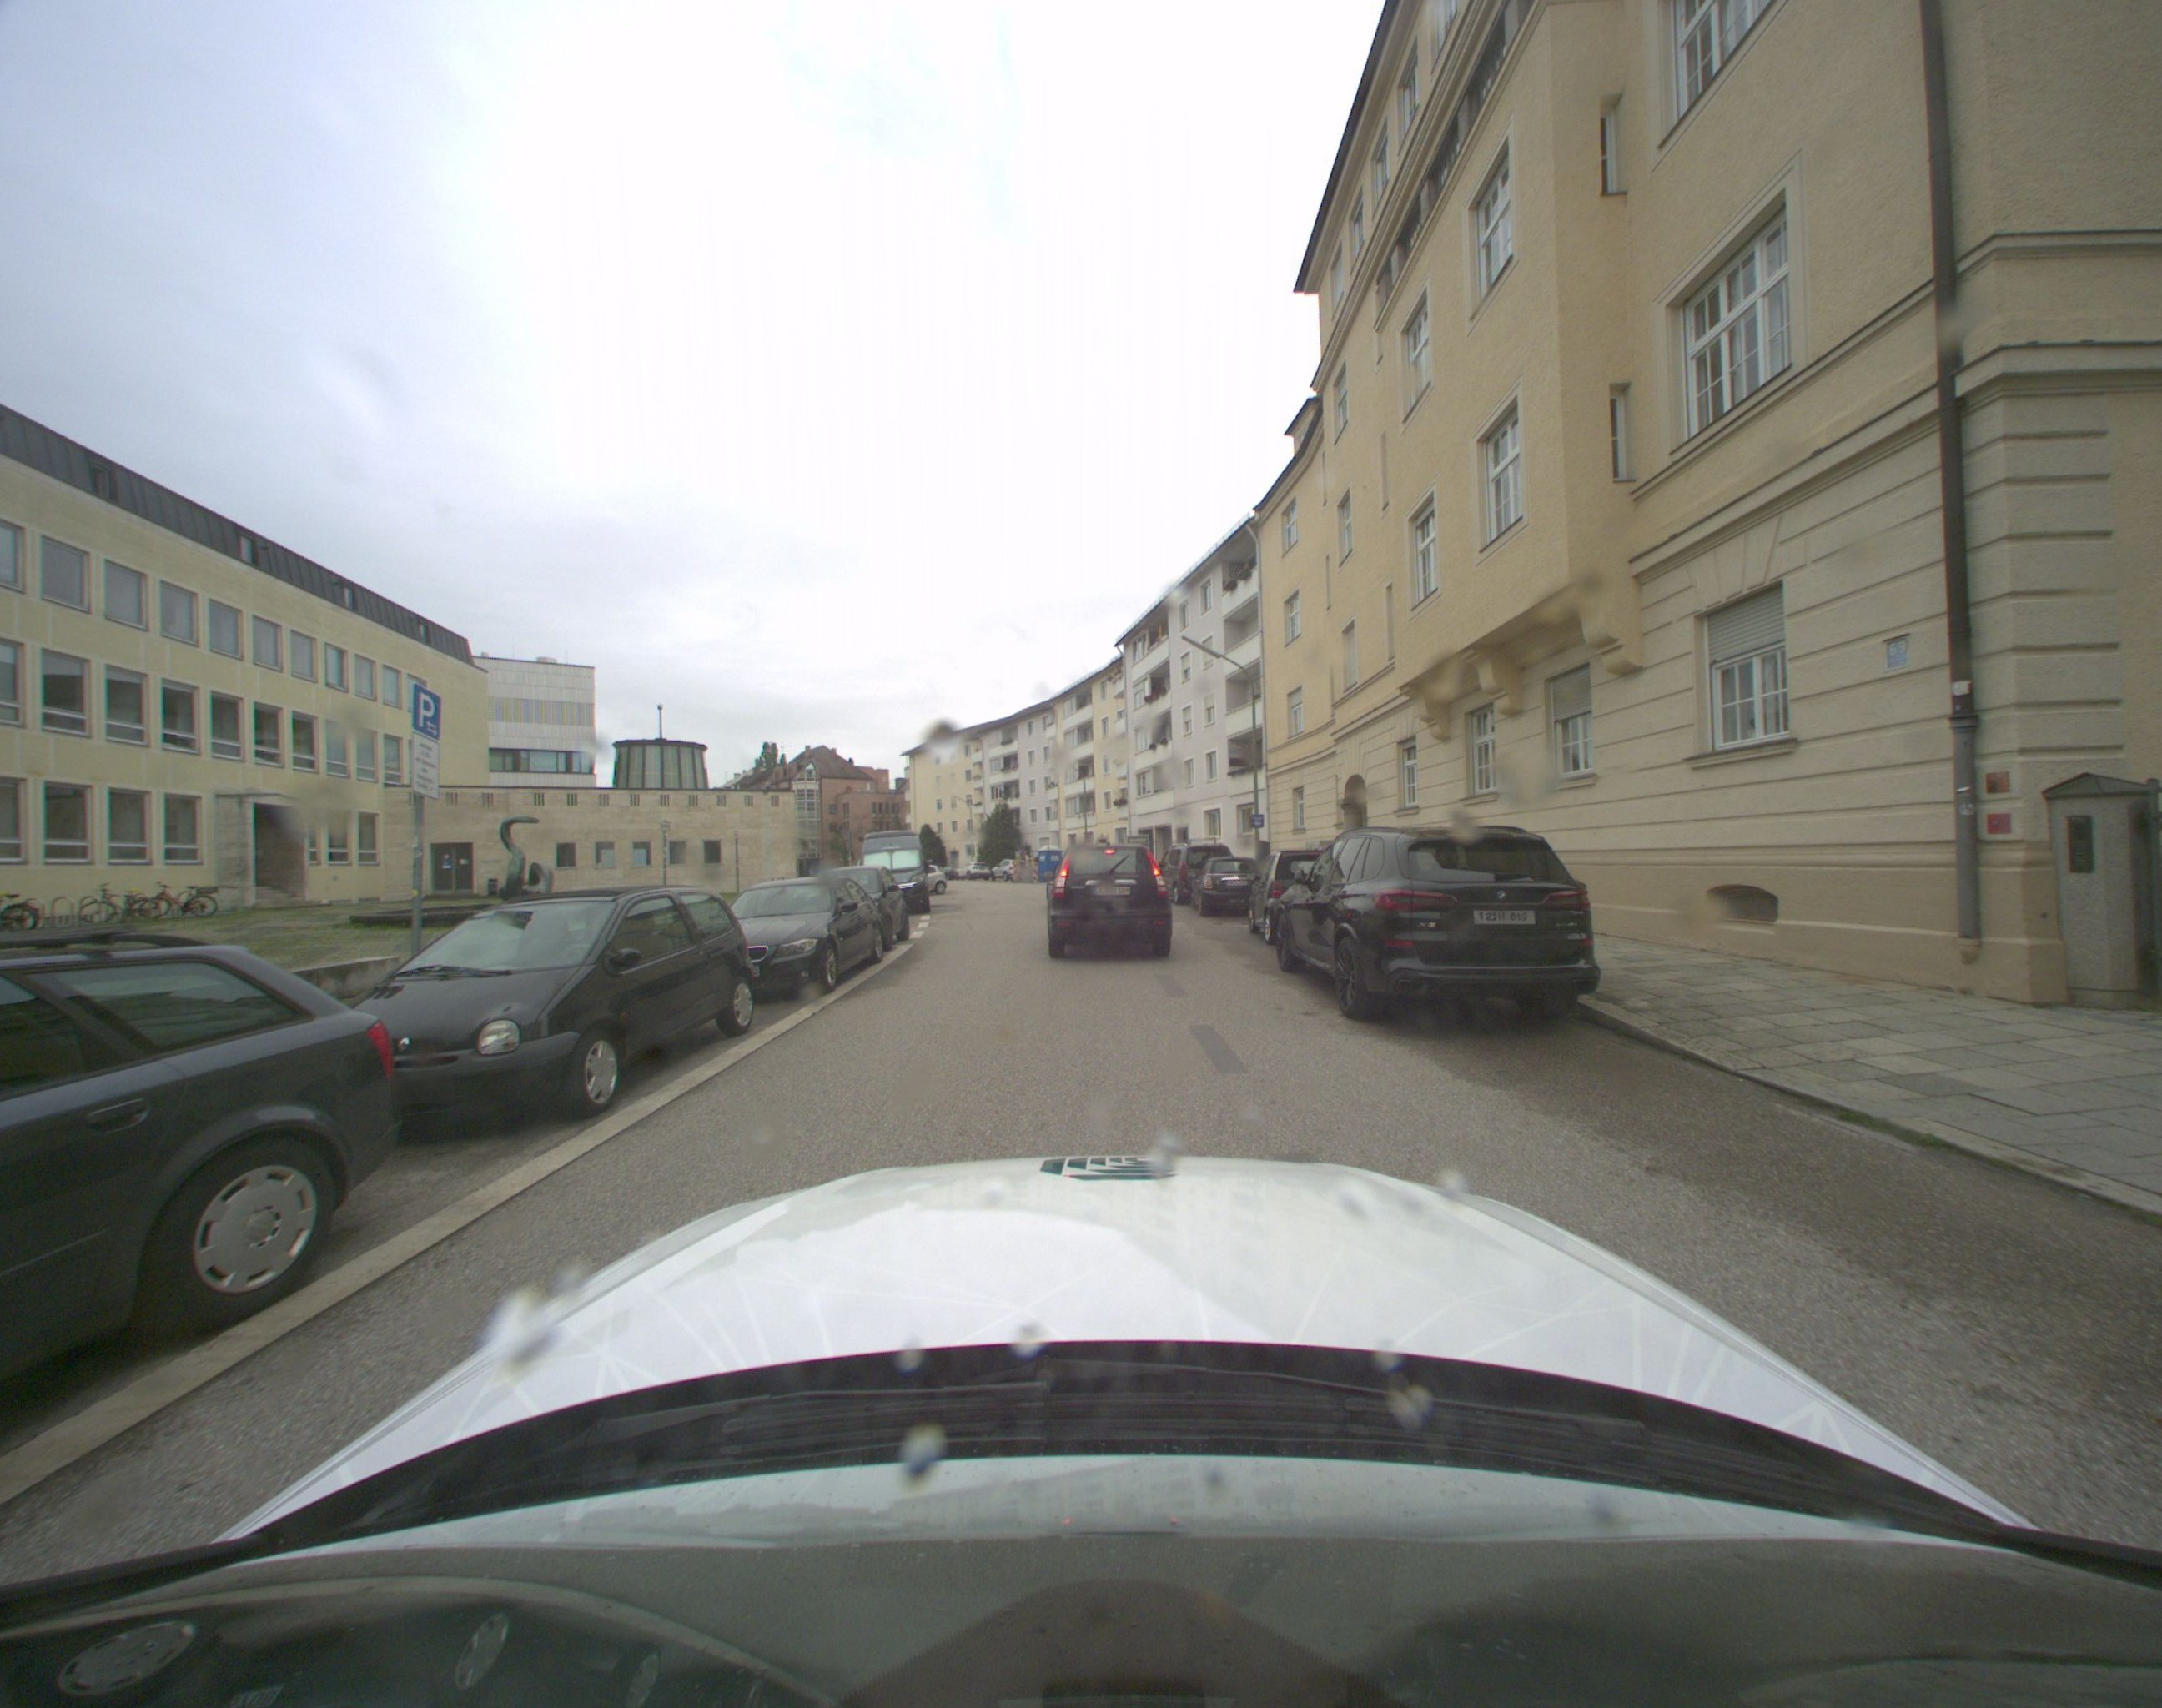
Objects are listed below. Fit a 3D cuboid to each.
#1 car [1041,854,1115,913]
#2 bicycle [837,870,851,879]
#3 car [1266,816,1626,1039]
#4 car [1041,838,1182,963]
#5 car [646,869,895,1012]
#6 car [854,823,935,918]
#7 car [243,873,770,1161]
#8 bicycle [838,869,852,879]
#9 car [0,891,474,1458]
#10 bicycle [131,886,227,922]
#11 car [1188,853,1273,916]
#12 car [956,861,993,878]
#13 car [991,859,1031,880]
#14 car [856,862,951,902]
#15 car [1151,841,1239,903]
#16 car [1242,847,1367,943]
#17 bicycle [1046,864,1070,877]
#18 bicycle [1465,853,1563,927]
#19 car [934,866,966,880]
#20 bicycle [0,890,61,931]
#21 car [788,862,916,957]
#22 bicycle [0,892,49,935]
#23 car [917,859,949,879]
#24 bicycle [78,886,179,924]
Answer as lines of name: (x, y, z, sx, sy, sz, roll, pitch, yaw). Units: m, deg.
car: (-0.175, 0.797, 23.291, 1.677, 1.481, 4.077, -2, 0, -6)
bicycle: (-34.074, 2.913, 117.143, 1.764, 1.288, 0.548, -1, -1, -29)
car: (3.375, 0.587, 8.749, 1.861, 1.717, 4.868, 0, 0, 2)
car: (0.381, 0.651, 13.105, 1.885, 1.647, 3.989, -2, 0, -1)
car: (-3.916, 0.986, 11.184, 1.795, 1.406, 4.451, -4, 0, -3)
car: (-6.013, 0.497, 26.567, 2.166, 2.641, 5.992, -3, 0, -12)
car: (-3.878, 0.955, 6.265, 1.652, 1.453, 3.311, -4, 0, -1)
bicycle: (-33.765, 2.874, 116.559, 1.764, 1.288, 0.548, -1, -1, -29)
car: (-3.830, 0.952, 1.682, 1.749, 1.453, 4.396, -4, 0, 0)
bicycle: (-28.474, 1.573, 25.746, 1.953, 1.014, 0.621, -2, 0, -20)
car: (3.749, 0.726, 20.978, 1.701, 1.447, 3.833, 0, 0, 3)
car: (-9.377, 1.343, 71.573, 1.736, 1.483, 3.960, -1, 0, -32)
car: (-5.399, 1.176, 62.675, 1.733, 1.483, 3.966, -1, 0, -26)
car: (-8.358, 1.318, 38.702, 1.663, 1.481, 4.113, -7, -1, 41)
car: (3.511, 0.536, 25.849, 1.775, 1.807, 4.266, 0, 0, -6)
car: (3.857, 0.664, 14.504, 1.528, 1.524, 3.113, 0, 0, 3)
bicycle: (-1.921, 1.360, 67.222, 1.872, 1.091, 0.641, -1, -1, -20)
bicycle: (7.081, 0.552, 13.429, 0.577, 1.083, 1.954, -4, 0, 2)
car: (-12.184, 1.751, 75.799, 1.709, 1.236, 3.565, -1, 0, -32)
bicycle: (-28.113, 1.496, 21.234, 1.946, 1.014, 0.623, -2, 0, -9)
car: (-4.212, 0.962, 15.401, 1.667, 1.502, 2.973, -3, 0, -4)
bicycle: (-27.559, 1.519, 20.503, 1.950, 1.014, 0.622, -2, 0, -15)
car: (-14.547, 1.457, 79.668, 1.736, 1.878, 3.960, -1, 0, -32)
bicycle: (-28.415, 1.518, 24.322, 1.949, 1.014, 0.623, -2, 0, -13)
